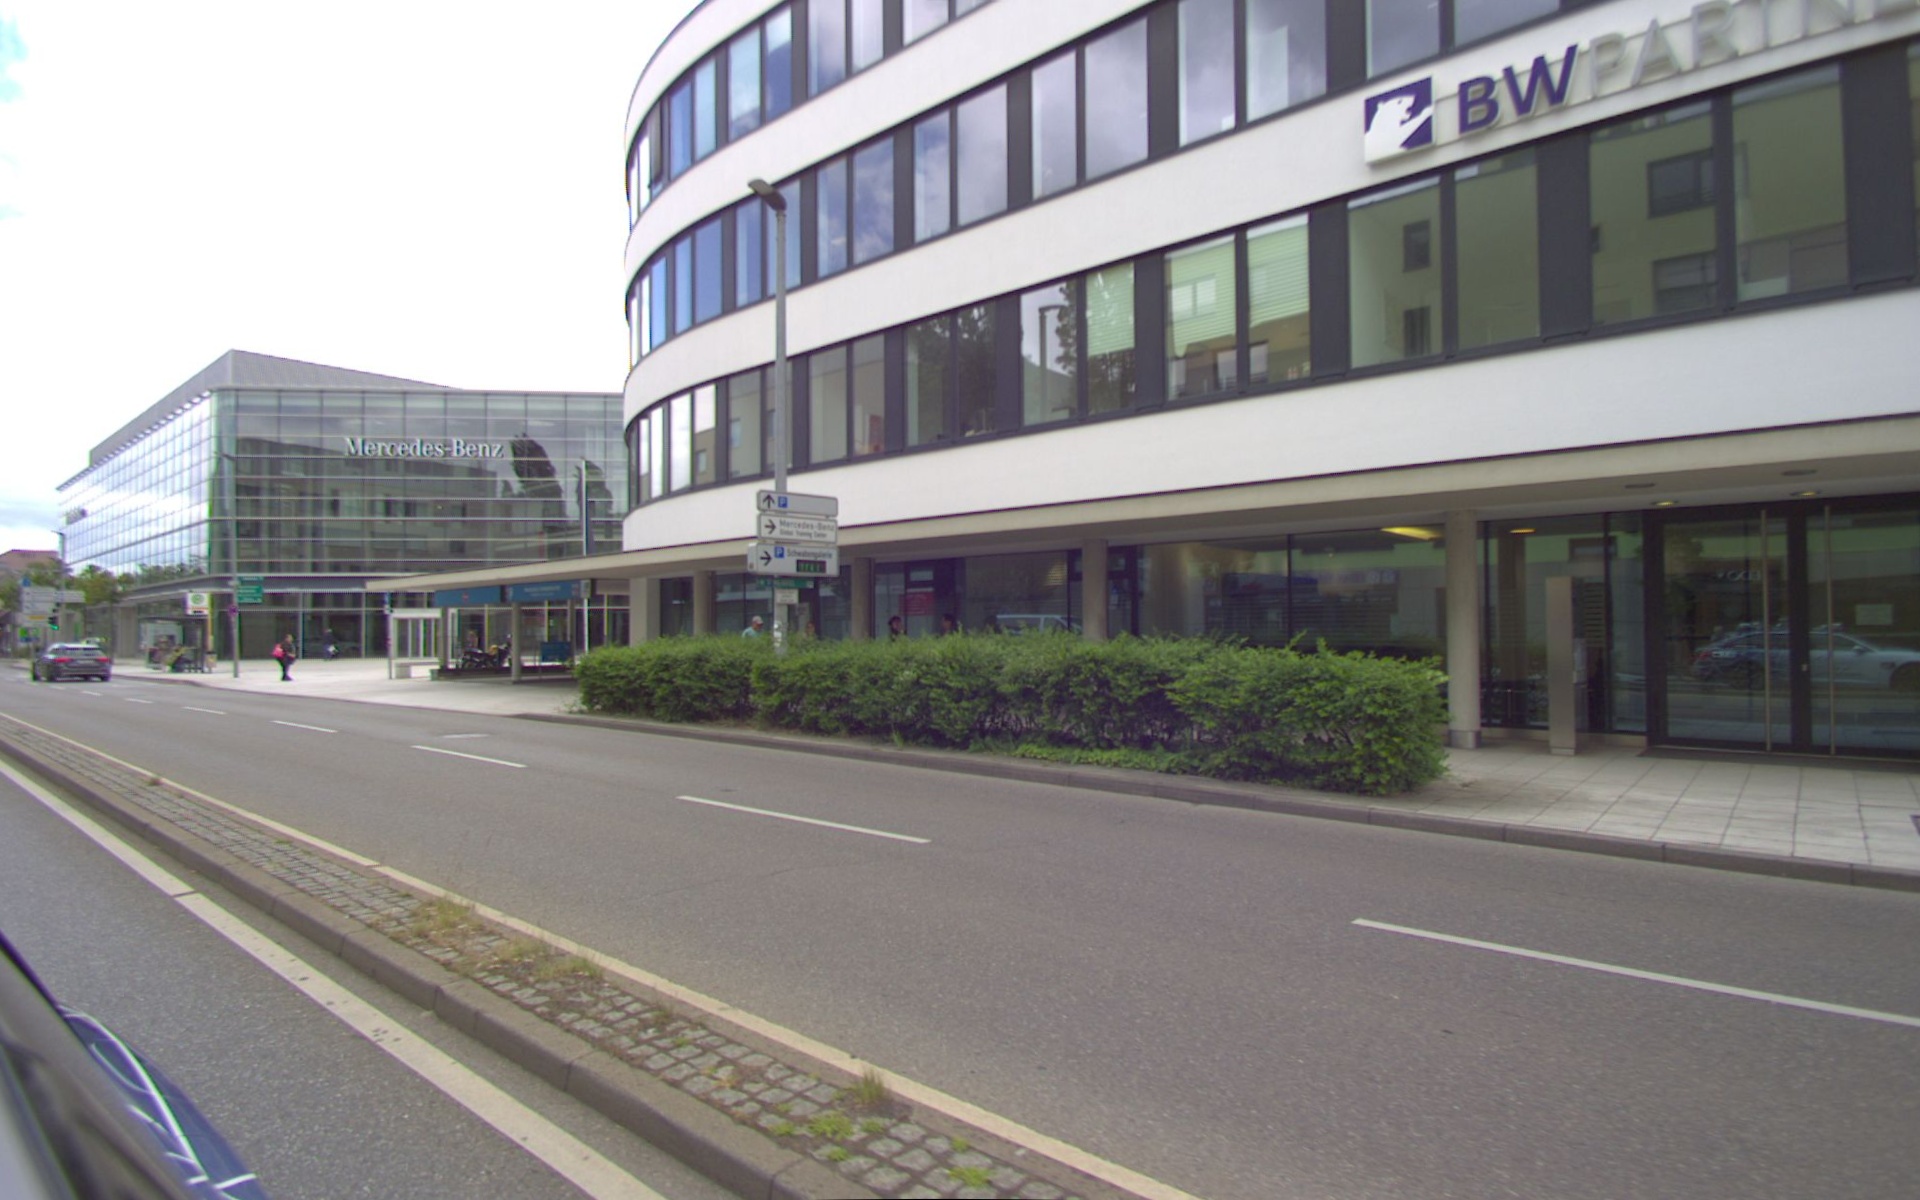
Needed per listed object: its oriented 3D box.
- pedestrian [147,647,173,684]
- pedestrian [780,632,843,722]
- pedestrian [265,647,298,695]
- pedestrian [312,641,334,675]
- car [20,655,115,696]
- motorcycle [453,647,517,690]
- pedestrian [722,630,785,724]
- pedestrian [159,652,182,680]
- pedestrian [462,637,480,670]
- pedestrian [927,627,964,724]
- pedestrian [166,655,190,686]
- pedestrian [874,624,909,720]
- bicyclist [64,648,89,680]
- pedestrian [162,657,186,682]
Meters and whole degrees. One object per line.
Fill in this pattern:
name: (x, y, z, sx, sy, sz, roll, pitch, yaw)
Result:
pedestrian: (-36.014, 2.942, 45.559, 0.568, 1.644, 0.686, 0, -3, 0)
pedestrian: (-2.803, 1.436, 19.082, 0.931, 1.625, 0.722, -3, -2, 43)
pedestrian: (-23.139, 2.402, 34.519, 0.820, 1.579, 0.814, 0, -2, -44)
pedestrian: (-38.083, 3.466, 60.530, 0.740, 1.960, 0.902, -1, -1, 2)
car: (-34.056, 2.829, 38.584, 4.464, 1.426, 1.878, -2, -3, 38)
motorcycle: (-16.160, 2.308, 34.455, 0.636, 1.343, 1.833, -3, -1, 45)
pedestrian: (-3.880, 1.428, 18.975, 0.931, 1.686, 0.722, -3, -2, 43)
pedestrian: (-35.366, 2.950, 45.356, 0.576, 1.263, 0.677, -3, -4, 40)
pedestrian: (-29.712, 3.264, 61.477, 0.747, 1.960, 0.680, -2, -2, 28)
pedestrian: (-0.273, 1.383, 18.657, 0.497, 1.743, 0.617, 0, -3, -18)
pedestrian: (-34.399, 3.087, 44.506, 0.576, 1.330, 0.677, -3, -5, 40)
pedestrian: (-1.241, 1.300, 18.419, 0.501, 1.723, 0.613, -1, -2, 11)
bicyclist: (-51.932, 3.776, 59.501, 0.762, 1.813, 0.748, -2, -1, -5)
pedestrian: (-34.899, 3.092, 44.953, 0.576, 1.084, 0.677, -3, -5, 40)
